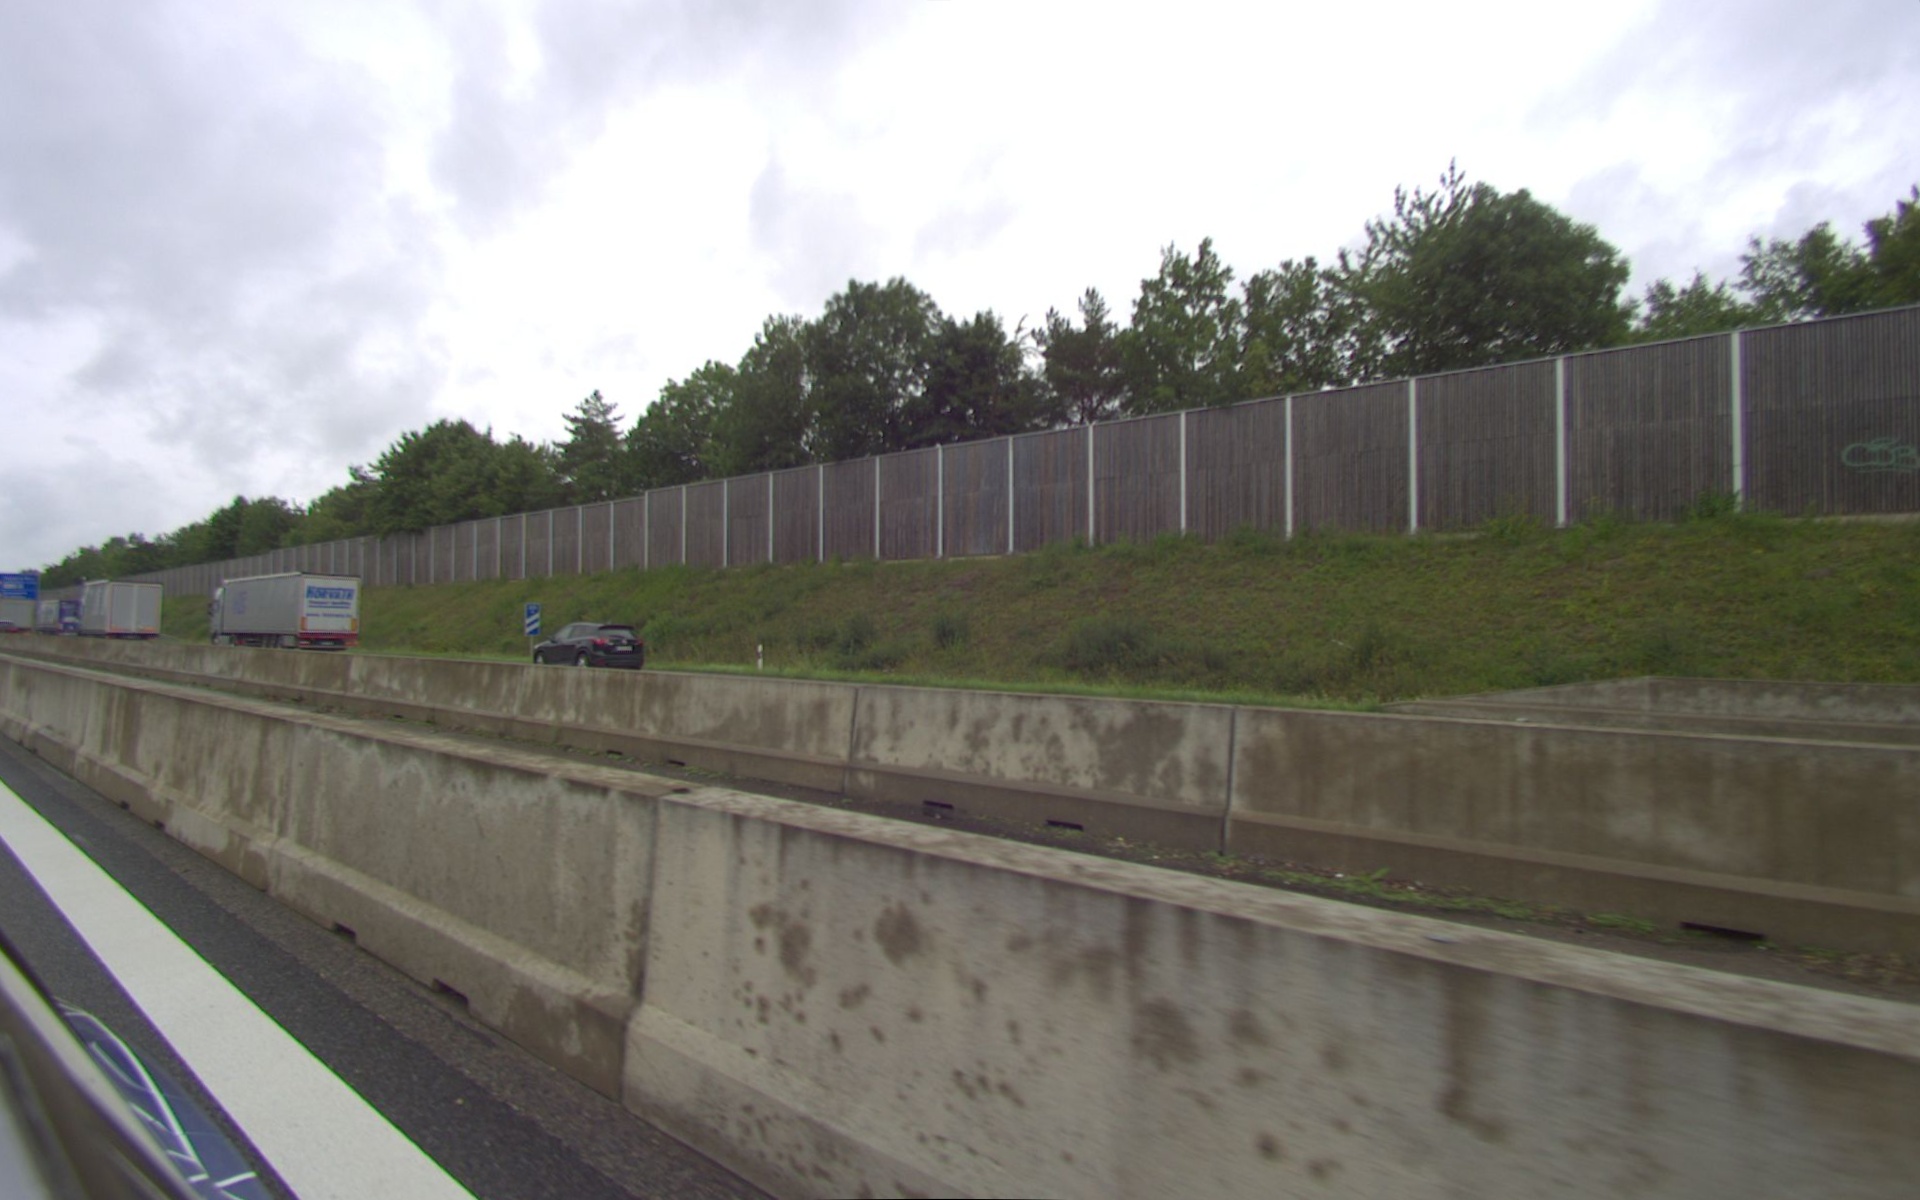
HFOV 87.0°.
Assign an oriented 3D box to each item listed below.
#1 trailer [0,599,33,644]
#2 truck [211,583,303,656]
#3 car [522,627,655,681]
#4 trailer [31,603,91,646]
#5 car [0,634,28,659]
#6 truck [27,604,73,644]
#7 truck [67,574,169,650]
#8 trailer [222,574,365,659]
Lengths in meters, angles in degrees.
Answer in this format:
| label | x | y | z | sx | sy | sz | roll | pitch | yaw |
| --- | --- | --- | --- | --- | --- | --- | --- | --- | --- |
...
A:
| label | x | y | z | sx | sy | sz | roll | pitch | yaw |
| --- | --- | --- | --- | --- | --- | --- | --- | --- | --- |
| trailer | -97.374 | 2.167 | 103.176 | 14.018 | 4.357 | 2.750 | -1 | 0 | 41 |
| truck | -38.960 | 1.080 | 56.039 | 5.887 | 3.825 | 2.858 | -1 | -2 | 41 |
| car | -11.633 | 1.647 | 31.550 | 4.479 | 1.549 | 1.973 | -1 | -3 | 41 |
| trailer | -96.524 | 2.629 | 108.541 | 14.332 | 4.358 | 3.057 | -1 | -2 | 41 |
| car | -70.411 | 3.379 | 74.649 | 4.999 | 1.749 | 1.973 | -1 | -2 | 41 |
| truck | -101.595 | 2.692 | 112.993 | 6.095 | 4.358 | 3.057 | -1 | -2 | 41 |
| truck | -53.435 | 0.731 | 64.013 | 12.676 | 4.357 | 3.118 | -1 | 0 | 42 |
| trailer | -34.476 | 0.898 | 52.034 | 12.437 | 3.966 | 2.873 | -1 | -2 | 41 |
